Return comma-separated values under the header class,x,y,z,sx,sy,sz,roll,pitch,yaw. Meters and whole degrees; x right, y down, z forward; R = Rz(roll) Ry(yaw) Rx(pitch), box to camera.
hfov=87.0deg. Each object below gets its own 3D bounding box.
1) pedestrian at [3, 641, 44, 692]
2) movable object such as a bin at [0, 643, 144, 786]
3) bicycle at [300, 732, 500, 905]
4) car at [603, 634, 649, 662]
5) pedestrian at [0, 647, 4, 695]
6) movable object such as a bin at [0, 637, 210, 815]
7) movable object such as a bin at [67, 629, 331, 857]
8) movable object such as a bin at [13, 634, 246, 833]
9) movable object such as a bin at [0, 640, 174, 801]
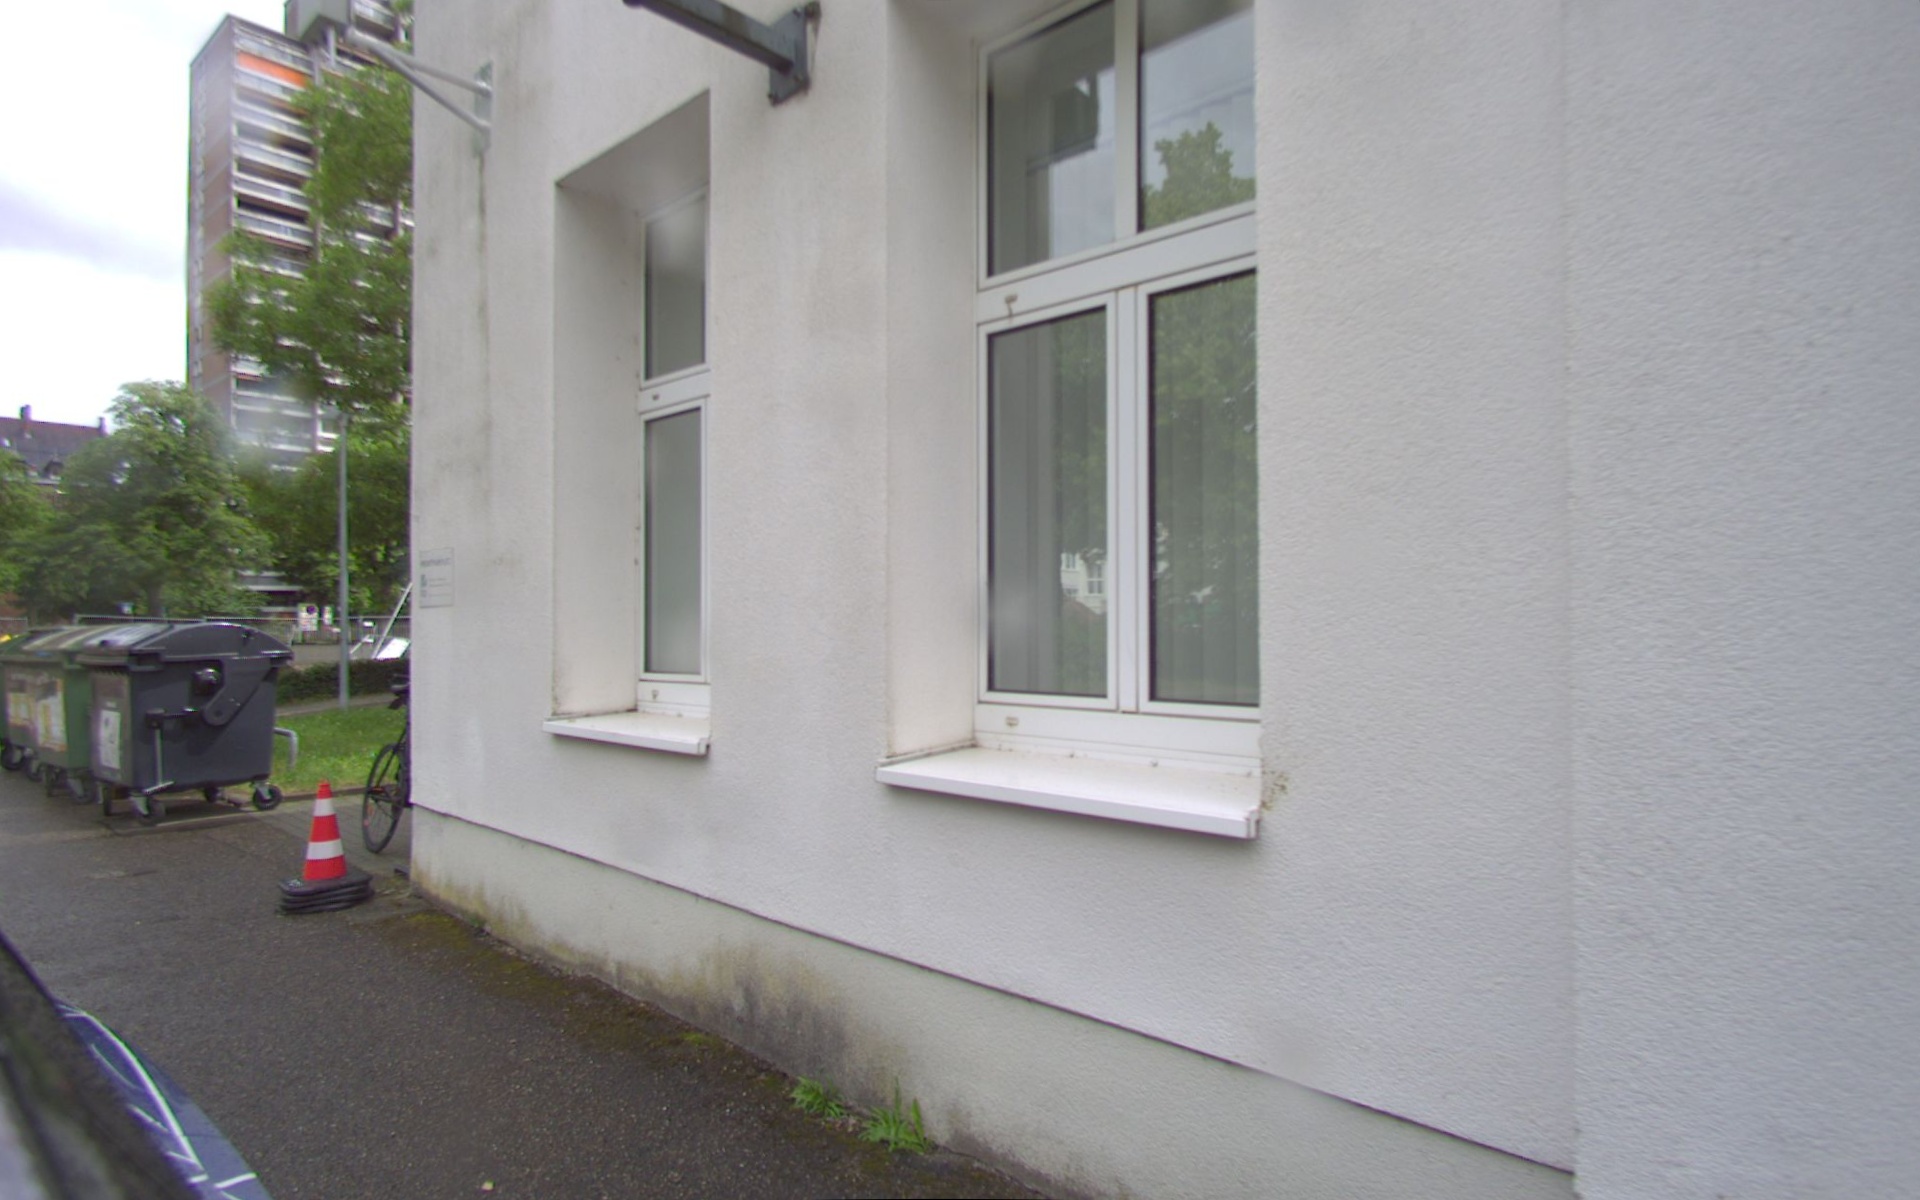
class,x,y,z,sx,sy,sz,roll,pitch,yaw
pedestrian,-31.341,2.222,33.870,0.763,1.686,0.715,0,-3,-22
movable object such as a bin,-10.453,1.270,11.650,1.560,1.482,1.394,-3,-2,41
bicycle,-3.570,1.296,6.357,2.056,0.805,0.447,-4,-2,42
car,-19.141,2.751,57.871,1.827,1.497,4.012,-1,-2,-28
pedestrian,-31.200,2.277,32.366,0.616,1.520,0.649,-1,-3,1
movable object such as a bin,-8.185,1.135,9.688,1.351,1.482,1.345,-3,-2,41
movable object such as a bin,-5.784,0.993,7.696,1.365,1.482,1.345,-3,-2,41
movable object such as a bin,-7.160,1.071,8.732,1.365,1.482,1.345,-3,-2,41
movable object such as a bin,-9.275,1.201,10.639,1.464,1.482,1.345,-3,-2,41
